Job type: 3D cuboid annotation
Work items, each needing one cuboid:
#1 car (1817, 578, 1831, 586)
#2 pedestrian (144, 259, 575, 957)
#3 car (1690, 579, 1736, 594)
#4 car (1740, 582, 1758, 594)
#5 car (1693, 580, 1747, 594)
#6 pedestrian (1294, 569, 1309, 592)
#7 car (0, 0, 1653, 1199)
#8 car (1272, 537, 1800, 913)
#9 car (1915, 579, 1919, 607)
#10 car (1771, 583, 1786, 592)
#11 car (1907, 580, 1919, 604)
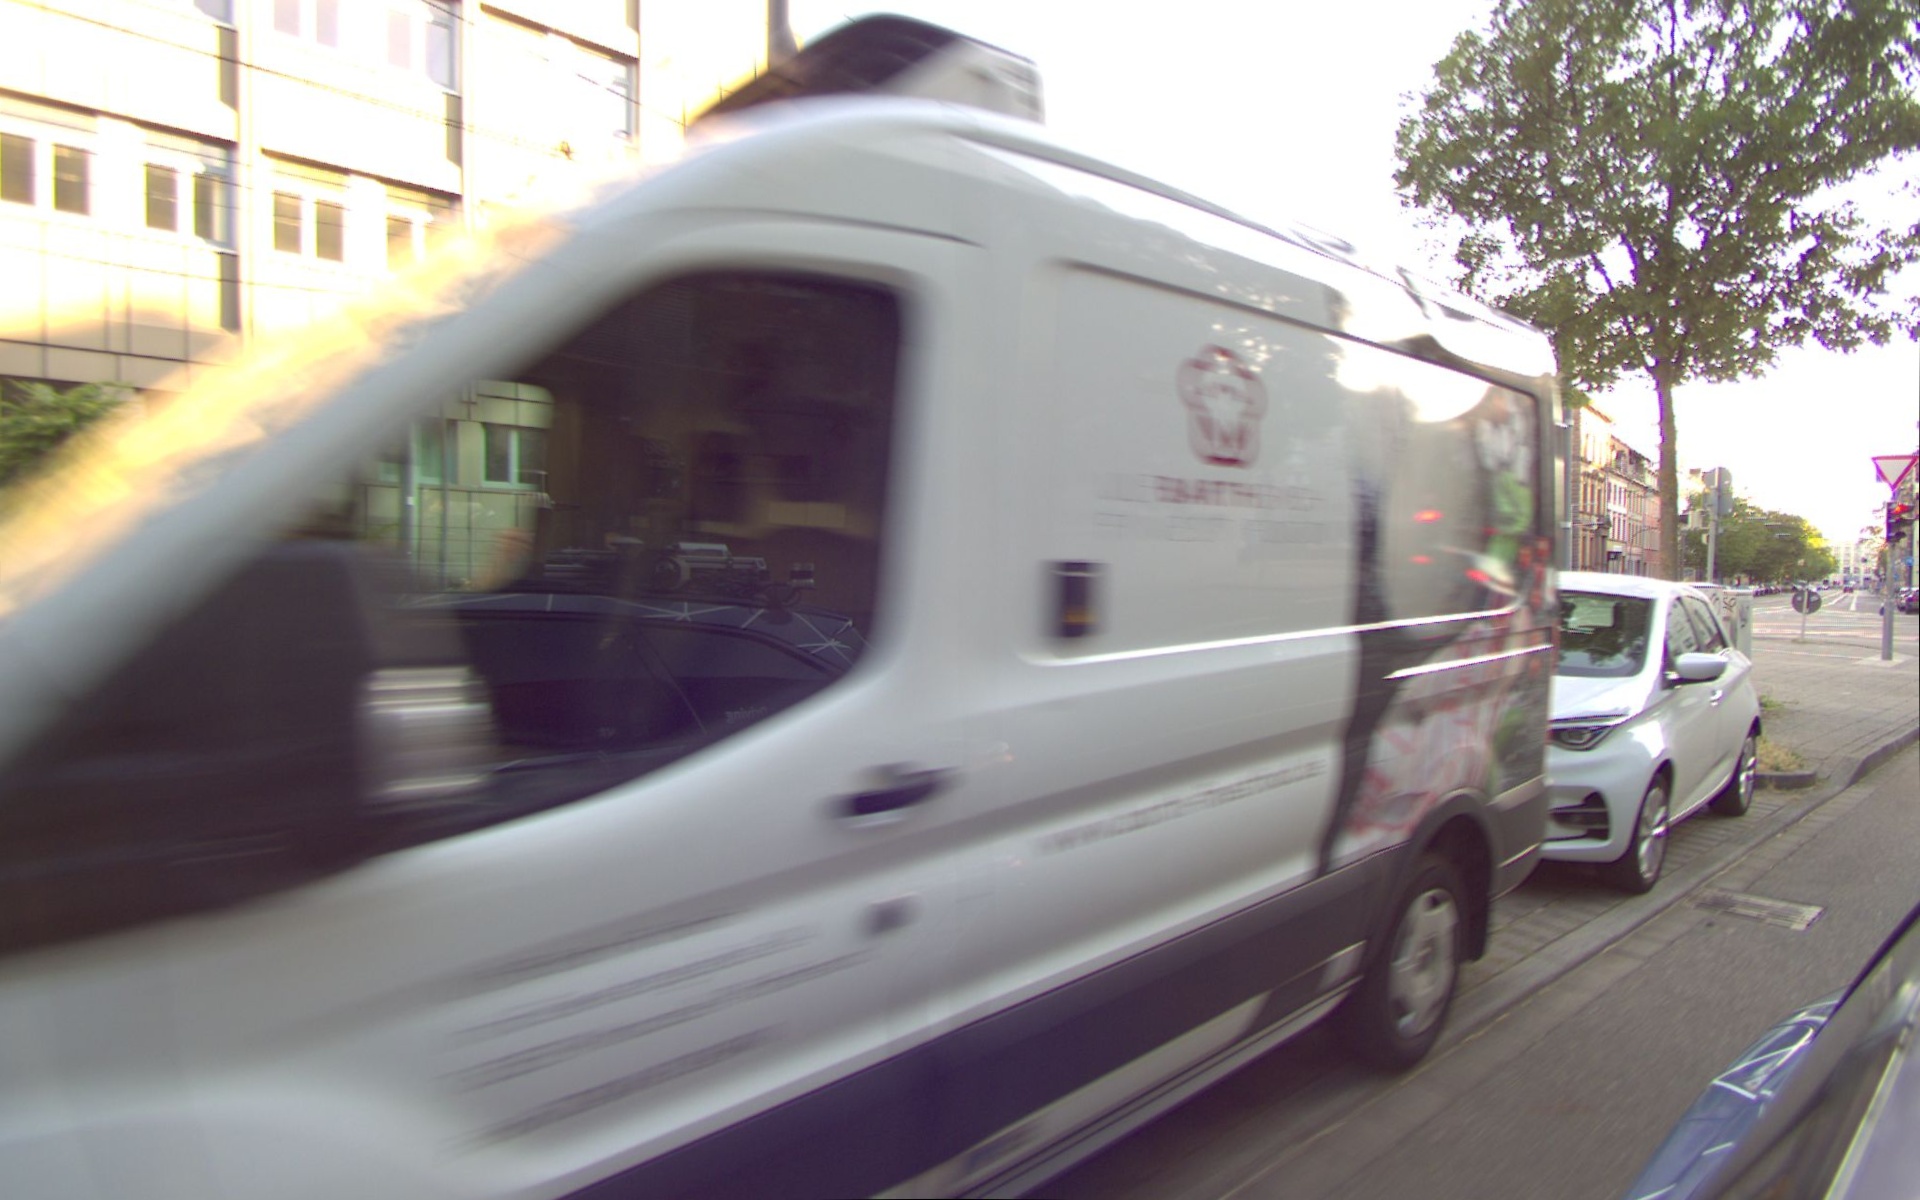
[{"bbox_3d":[157.657,-3.309,184.672,1.780,1.475,4.233,2,2,41],"label":"car"},{"bbox_3d":[-1.946,0.010,3.403,0.962,2.038,0.807,1,1,5],"label":"pedestrian"},{"bbox_3d":[77.894,-1.418,104.690,3.756,1.504,1.881,2,2,39],"label":"car"},{"bbox_3d":[99.694,-1.478,127.860,1.778,1.475,4.238,2,2,38],"label":"car"},{"bbox_3d":[83.059,-1.437,110.630,4.682,1.504,1.881,2,2,39],"label":"car"},{"bbox_3d":[23.419,-1.328,69.344,0.802,1.545,0.580,0,1,-36],"label":"pedestrian"},{"bbox_3d":[-0.213,-0.016,2.721,5.341,2.688,2.055,0,5,-42],"label":"car"},{"bbox_3d":[3.848,0.500,6.453,3.946,1.602,1.751,-1,5,-43],"label":"car"},{"bbox_3d":[53.395,-0.365,54.995,4.227,1.475,2.003,-1,2,-45],"label":"car"},{"bbox_3d":[130.309,-1.969,161.102,1.778,1.453,4.238,2,2,38],"label":"car"},{"bbox_3d":[61.127,-0.517,63.921,1.782,1.475,4.229,2,2,44],"label":"car"}]
